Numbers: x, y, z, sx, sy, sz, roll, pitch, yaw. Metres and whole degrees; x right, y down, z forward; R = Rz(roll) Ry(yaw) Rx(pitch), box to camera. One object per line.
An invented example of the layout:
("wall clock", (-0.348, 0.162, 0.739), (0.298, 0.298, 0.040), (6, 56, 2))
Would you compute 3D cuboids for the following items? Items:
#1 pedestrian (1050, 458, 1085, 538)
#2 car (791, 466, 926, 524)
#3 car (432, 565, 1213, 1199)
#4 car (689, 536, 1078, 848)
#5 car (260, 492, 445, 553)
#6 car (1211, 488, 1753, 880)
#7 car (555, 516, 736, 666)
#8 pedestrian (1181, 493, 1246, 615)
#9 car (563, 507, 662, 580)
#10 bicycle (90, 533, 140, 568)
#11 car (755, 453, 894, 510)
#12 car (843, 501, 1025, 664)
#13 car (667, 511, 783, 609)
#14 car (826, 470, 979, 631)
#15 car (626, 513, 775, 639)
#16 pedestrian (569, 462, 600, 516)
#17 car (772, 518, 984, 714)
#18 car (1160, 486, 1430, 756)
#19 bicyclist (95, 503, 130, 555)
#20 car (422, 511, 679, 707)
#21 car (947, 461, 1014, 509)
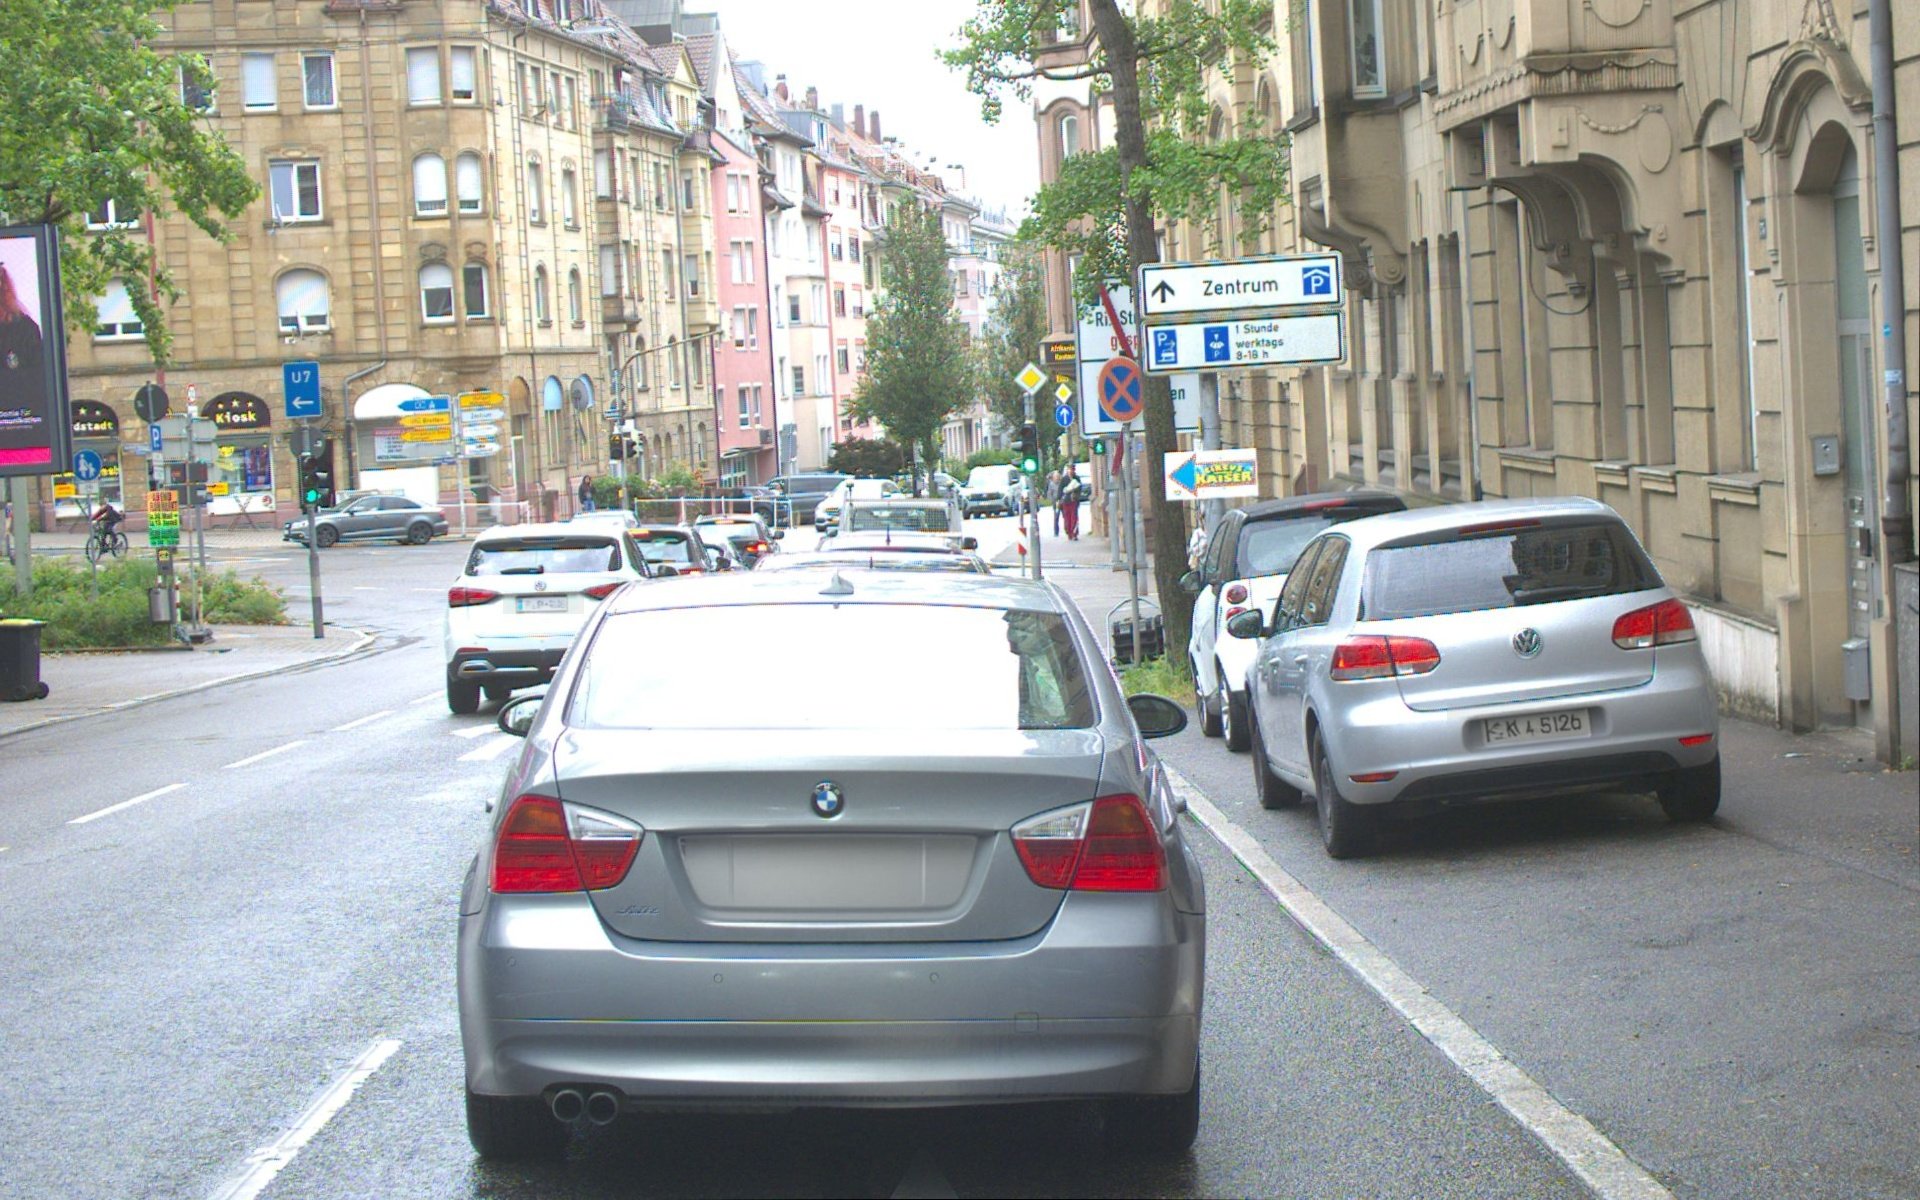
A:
("pedestrian", (2.582, -2.455, 82.696), (0.742, 1.903, 0.659), (-2, 1, -1))
("car", (-2.911, -3.022, 99.450), (1.997, 1.573, 3.993), (1, 1, 32))
("car", (-0.272, 0.636, 9.027), (1.623, 1.378, 3.615), (-1, 1, 1))
("car", (-0.330, 0.385, 17.715), (1.759, 1.378, 4.000), (-1, 1, 1))
("car", (-16.491, -2.087, 93.296), (4.638, 1.573, 2.001), (1, 1, -21))
("car", (2.317, 0.302, 16.281), (1.759, 1.446, 4.000), (-6, 1, -1))
("car", (-3.760, -0.151, 41.688), (1.759, 1.702, 4.000), (-1, 1, 1))
("pedestrian", (3.283, -0.601, 44.547), (0.631, 1.503, 0.693), (-6, 1, -1))
("car", (-7.288, -1.199, 72.371), (1.715, 1.445, 3.743), (-2, 1, -1))
("bicycle", (-21.044, -1.221, 85.592), (0.574, 0.855, 1.521), (1, 1, 13))
("car", (-5.093, -4.476, 130.252), (5.176, 2.007, 2.699), (1, 1, -1))
("car", (-0.307, -0.226, 35.714), (1.759, 1.562, 4.001), (-1, 2, -1))
("car", (-4.235, -0.759, 62.437), (1.759, 1.702, 4.000), (-1, 1, 1))
("car", (-0.770, -0.680, 46.995), (1.993, 2.099, 4.000), (0, 1, -1))
("car", (-3.653, -0.379, 48.921), (1.759, 1.702, 4.000), (-1, 1, 1))
("pedestrian", (-11.026, -3.263, 100.886), (0.732, 1.572, 0.528), (-2, 1, 8))
("car", (-0.617, 0.078, 28.469), (1.595, 1.459, 4.000), (1, 1, 1))
("car", (2.161, 0.095, 22.756), (1.299, 1.537, 2.976), (-6, 1, -1))
("bicyclist", (-21.072, -1.761, 85.483), (0.569, 1.268, 0.689), (1, 0, 12))
("car", (-3.596, 0.029, 30.821), (1.868, 1.620, 4.000), (-1, 1, -1))
("car", (0.726, -4.010, 120.311), (1.994, 1.573, 3.999), (1, 1, 5))
